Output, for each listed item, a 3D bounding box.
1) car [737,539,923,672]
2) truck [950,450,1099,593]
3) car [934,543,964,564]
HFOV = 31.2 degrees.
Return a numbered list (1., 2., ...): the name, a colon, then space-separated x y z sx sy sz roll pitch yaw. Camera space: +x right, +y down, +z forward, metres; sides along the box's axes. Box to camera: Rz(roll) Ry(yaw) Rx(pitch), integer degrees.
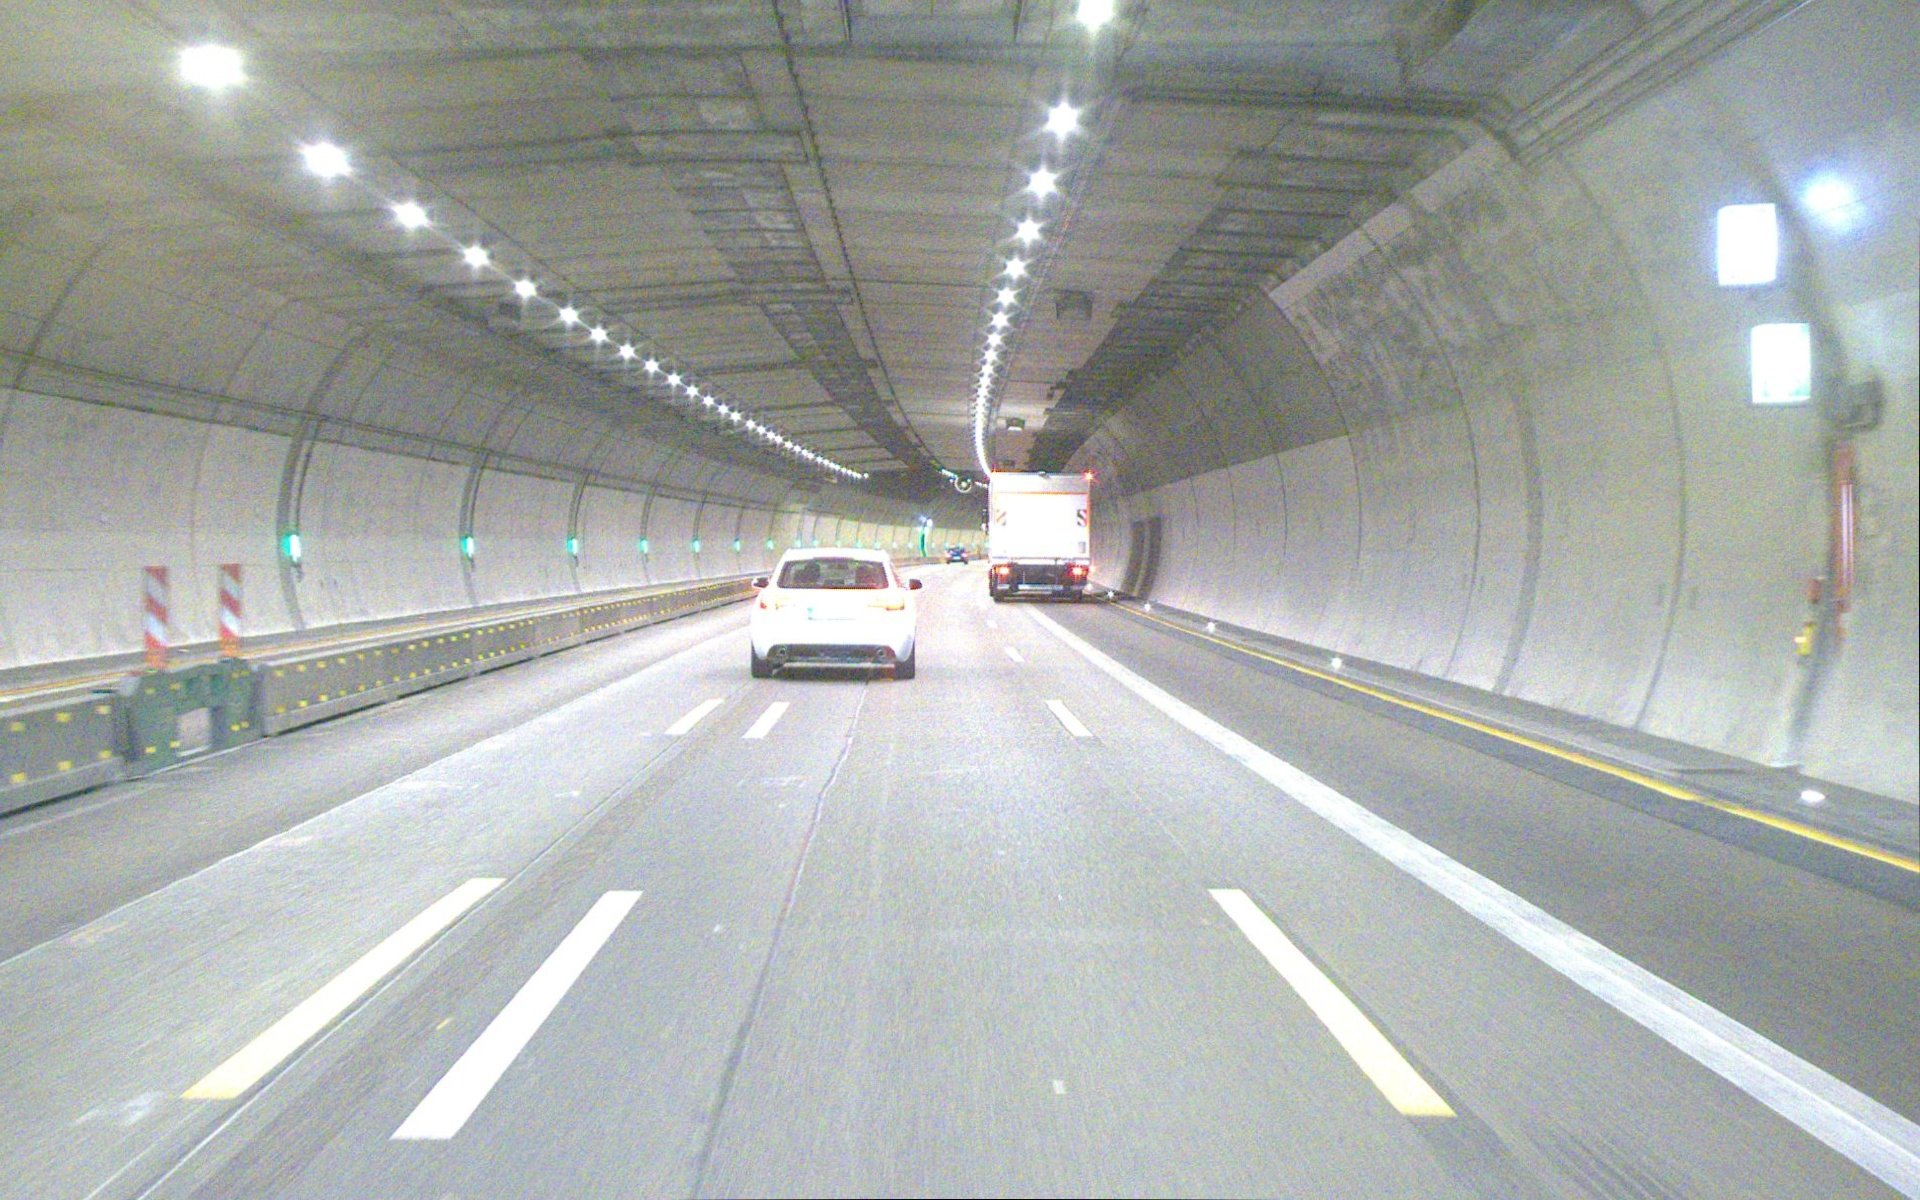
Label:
1. car: -1.466 0.018 39.684 1.993 1.408 4.743 1 1 -1
2. truck: 1.645 -2.130 94.198 3.592 3.638 10.723 1 1 -1
3. car: -0.849 -3.556 261.833 1.994 1.514 4.000 1 1 3
